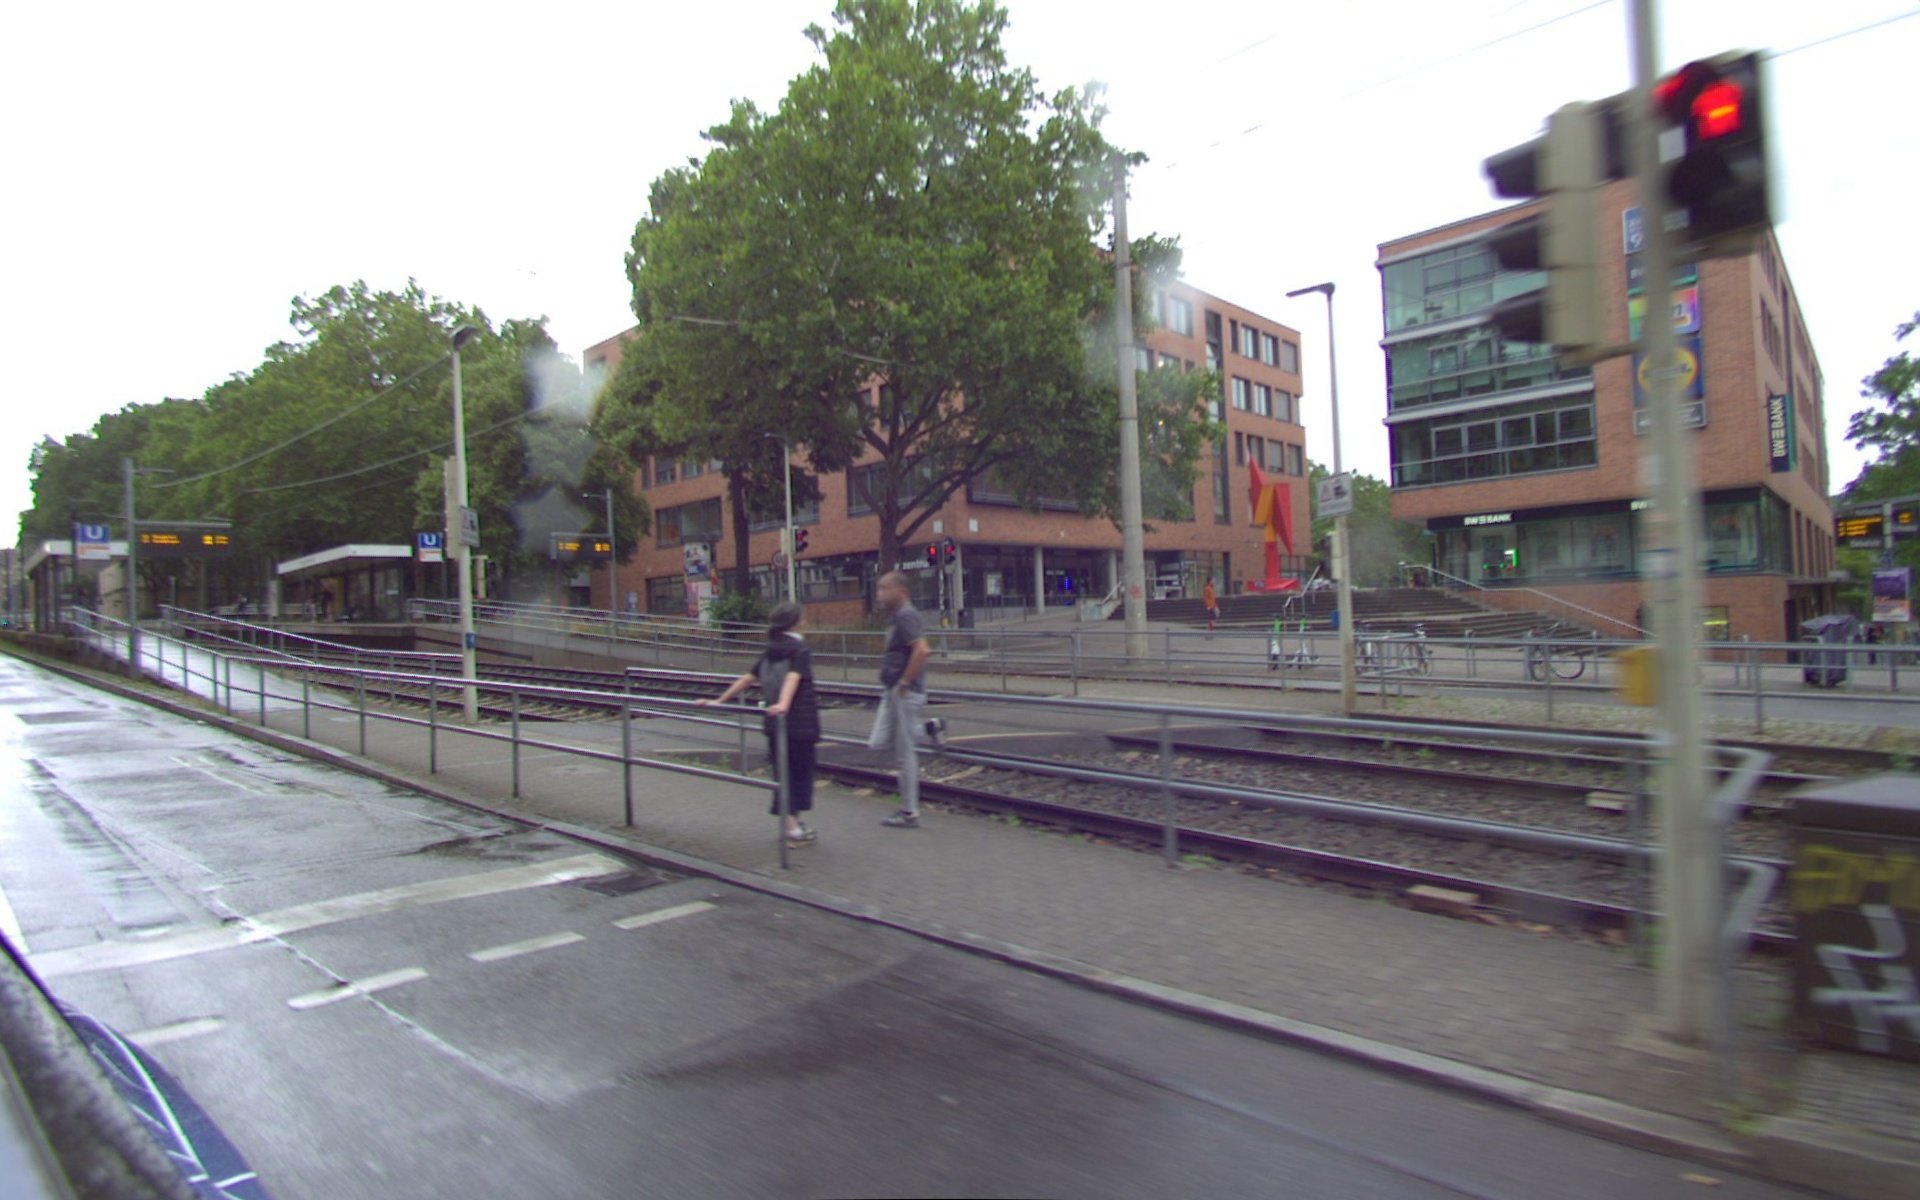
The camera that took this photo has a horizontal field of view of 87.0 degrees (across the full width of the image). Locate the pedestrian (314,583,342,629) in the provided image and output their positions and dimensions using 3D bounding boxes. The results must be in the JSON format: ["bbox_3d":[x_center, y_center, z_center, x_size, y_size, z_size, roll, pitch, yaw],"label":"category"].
[{"bbox_3d":[-28.812,0.278,46.149,0.883,2.078,0.826,-1,-2,39],"label":"pedestrian"}]

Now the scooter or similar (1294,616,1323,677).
[{"bbox_3d":[7.266,0.942,21.079,0.476,1.203,1.706,-1,-1,22],"label":"scooter or similar"}]

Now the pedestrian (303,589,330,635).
[{"bbox_3d":[-29.842,0.553,46.911,0.883,2.078,0.826,-1,-2,39],"label":"pedestrian"}]

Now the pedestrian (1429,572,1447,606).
[{"bbox_3d":[24.658,-0.557,52.208,0.726,1.743,0.641,-1,-1,31],"label":"pedestrian"}]

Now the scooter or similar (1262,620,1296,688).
[{"bbox_3d":[6.817,1.121,21.585,0.450,1.381,1.493,-1,-1,26],"label":"scooter or similar"}]

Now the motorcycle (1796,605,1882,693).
[{"bbox_3d":[14.884,0.793,17.200,0.865,1.381,2.626,-1,-2,36],"label":"motorcycle"}]

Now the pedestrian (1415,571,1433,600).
[{"bbox_3d":[25.653,-0.813,55.952,0.616,1.562,0.718,0,-1,-11],"label":"pedestrian"}]

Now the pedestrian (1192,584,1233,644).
[{"bbox_3d":[7.736,0.413,30.999,0.780,1.757,1.072,0,3,-13],"label":"pedestrian"}]

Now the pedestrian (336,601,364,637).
[{"bbox_3d":[-26.259,0.820,43.586,0.883,1.494,0.771,-1,-2,39],"label":"pedestrian"}]

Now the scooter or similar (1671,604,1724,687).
[{"bbox_3d":[12.823,0.768,17.619,0.450,1.381,1.493,-1,-1,26],"label":"scooter or similar"}]

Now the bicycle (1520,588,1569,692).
[{"bbox_3d":[10.533,0.670,18.206,0.556,1.710,2.072,0,2,36],"label":"bicycle"}]

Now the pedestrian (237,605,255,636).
[{"bbox_3d":[-41.059,1.185,58.183,0.703,1.804,0.667,-2,-2,44],"label":"pedestrian"}]

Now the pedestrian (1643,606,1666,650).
[{"bbox_3d":[24.953,1.001,36.352,0.592,1.578,0.513,-2,-1,41],"label":"pedestrian"}]

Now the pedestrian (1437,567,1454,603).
[{"bbox_3d":[24.159,-0.744,50.378,0.647,1.743,0.611,-2,-2,36],"label":"pedestrian"}]

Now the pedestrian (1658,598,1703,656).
[{"bbox_3d":[22.104,0.818,31.054,1.009,1.743,0.886,-2,-2,43],"label":"pedestrian"}]

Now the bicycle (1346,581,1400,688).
[{"bbox_3d":[8.198,0.646,20.039,0.518,2.029,1.873,-1,0,36],"label":"bicycle"}]

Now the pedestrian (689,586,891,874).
[{"bbox_3d":[-1.073,0.741,6.342,0.825,1.617,1.002,1,-2,-45],"label":"pedestrian"}]

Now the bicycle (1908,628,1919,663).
[{"bbox_3d":[32.195,1.462,32.588,0.840,1.109,2.369,0,-1,-44],"label":"bicycle"}]

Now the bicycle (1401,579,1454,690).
[{"bbox_3d":[9.006,0.629,19.454,0.518,2.029,1.873,-1,0,36],"label":"bicycle"}]

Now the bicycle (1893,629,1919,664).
[{"bbox_3d":[31.169,1.472,31.984,2.363,1.109,0.691,-2,-1,36],"label":"bicycle"}]

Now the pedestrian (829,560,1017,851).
[{"bbox_3d":[-0.255,0.670,6.951,1.001,1.812,0.817,-2,-2,41],"label":"pedestrian"}]
